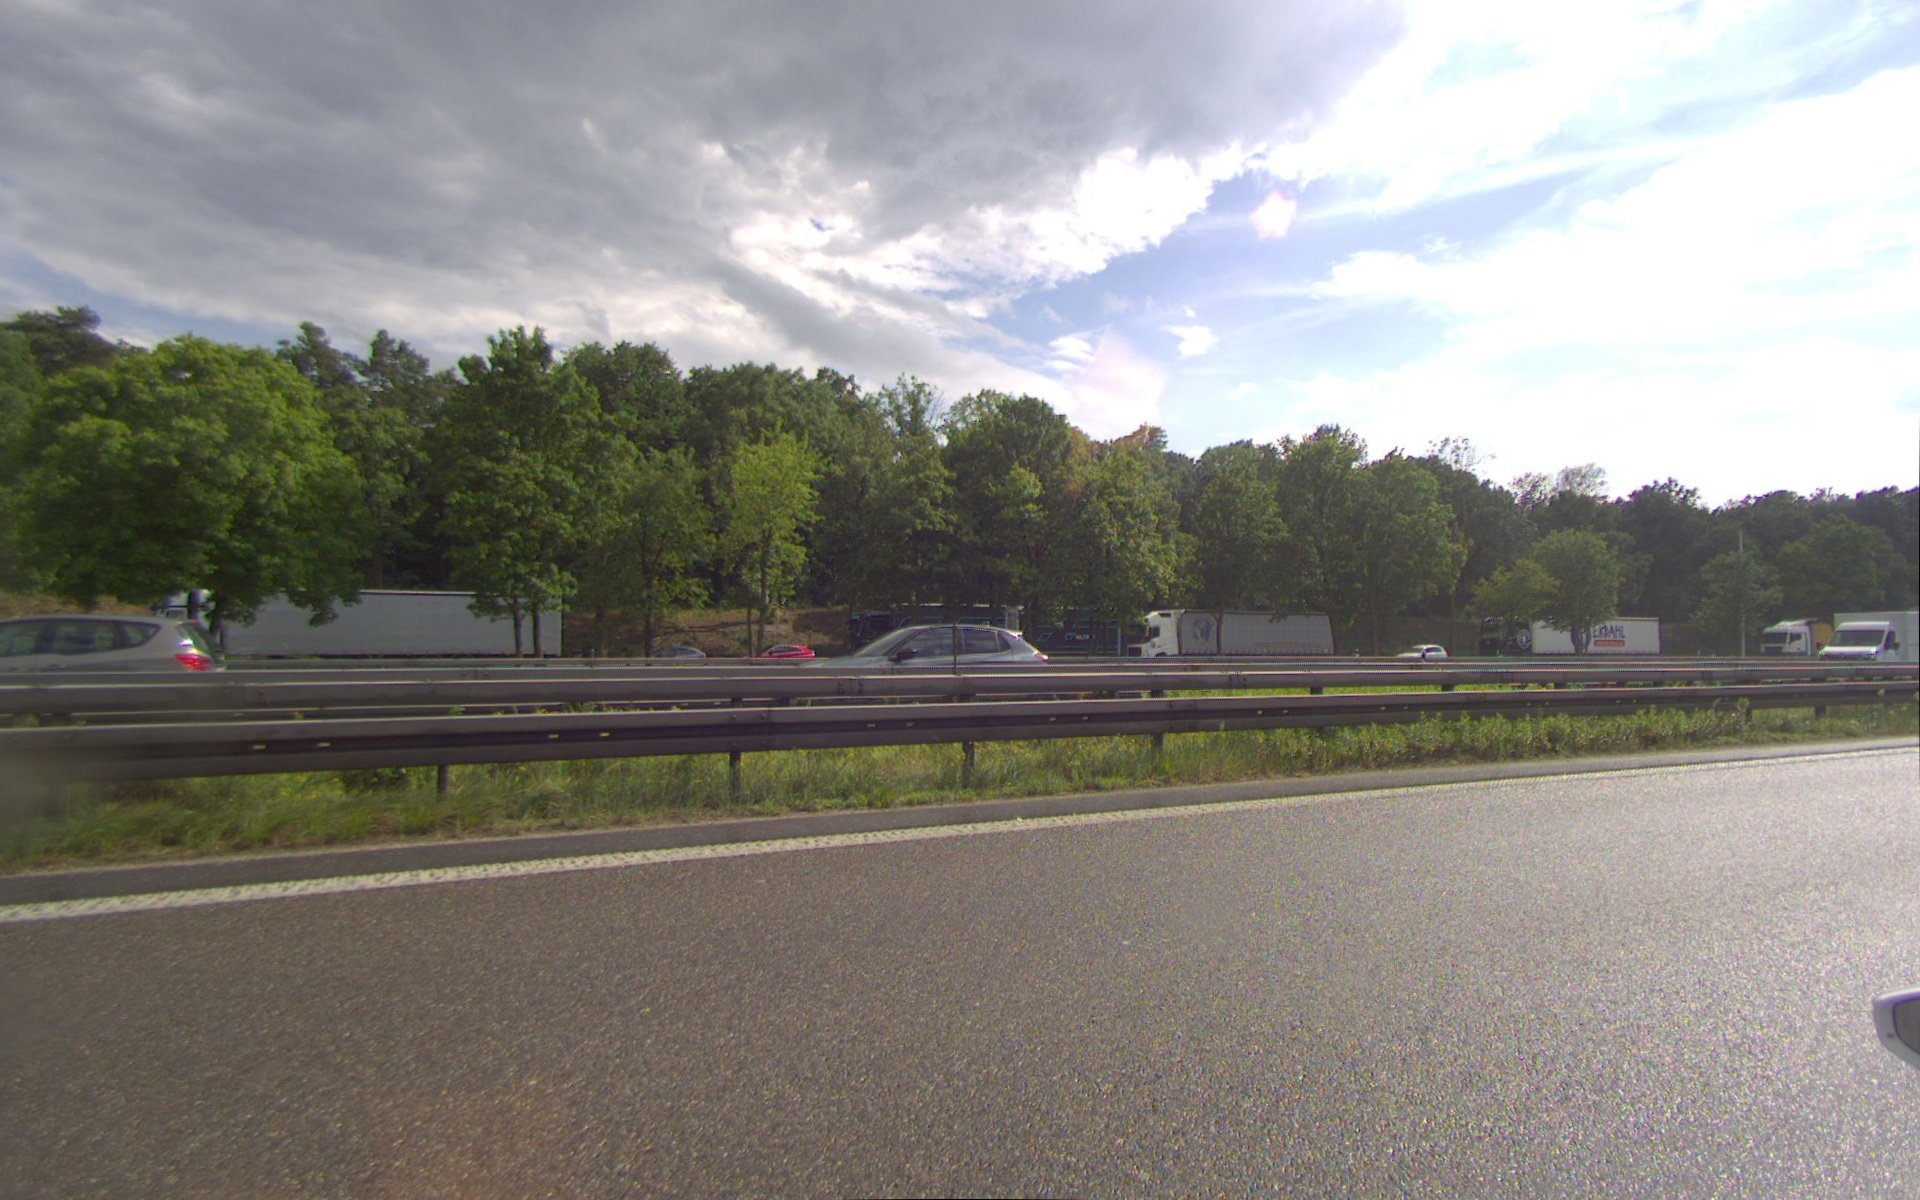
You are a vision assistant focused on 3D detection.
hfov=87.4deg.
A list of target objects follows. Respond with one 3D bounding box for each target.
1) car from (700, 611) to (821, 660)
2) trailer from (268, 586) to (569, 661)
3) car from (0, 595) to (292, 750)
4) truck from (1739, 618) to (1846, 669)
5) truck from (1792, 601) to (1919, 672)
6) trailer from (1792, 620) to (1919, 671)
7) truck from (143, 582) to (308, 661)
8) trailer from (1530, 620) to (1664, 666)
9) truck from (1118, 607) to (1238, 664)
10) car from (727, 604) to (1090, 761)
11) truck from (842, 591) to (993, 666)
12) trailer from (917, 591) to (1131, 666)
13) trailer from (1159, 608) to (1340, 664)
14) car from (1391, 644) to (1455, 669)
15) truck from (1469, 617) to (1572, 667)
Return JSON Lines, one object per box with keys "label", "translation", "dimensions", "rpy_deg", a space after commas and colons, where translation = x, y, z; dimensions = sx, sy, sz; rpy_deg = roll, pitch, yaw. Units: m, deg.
{"label": "car", "translation": [-11.232, 1.987, 56.587], "dimensions": [6.127, 2.515, 2.784], "rpy_deg": [2, 0, -25]}
{"label": "trailer", "translation": [-25.590, 1.221, 48.361], "dimensions": [12.319, 3.259, 3.334], "rpy_deg": [2, -1, -28]}
{"label": "car", "translation": [-12.286, 0.936, 13.916], "dimensions": [4.716, 1.916, 2.292], "rpy_deg": [2, 0, -26]}
{"label": "truck", "translation": [73.758, 3.788, 89.098], "dimensions": [6.923, 4.171, 3.791], "rpy_deg": [2, 0, -12]}
{"label": "truck", "translation": [38.619, 1.552, 42.220], "dimensions": [7.095, 2.717, 2.833], "rpy_deg": [2, 0, -25]}
{"label": "trailer", "translation": [81.852, 4.084, 90.847], "dimensions": [11.521, 4.171, 3.791], "rpy_deg": [2, 0, -12]}
{"label": "truck", "translation": [-32.401, 0.956, 44.647], "dimensions": [5.442, 3.316, 3.337], "rpy_deg": [2, 0, -30]}
{"label": "trailer", "translation": [52.849, 3.567, 83.361], "dimensions": [10.333, 3.697, 3.786], "rpy_deg": [1, -1, -19]}
{"label": "truck", "translation": [14.963, 2.410, 68.984], "dimensions": [7.256, 3.637, 3.776], "rpy_deg": [2, 0, -25]}
{"label": "car", "translation": [-0.741, 1.104, 14.544], "dimensions": [4.716, 1.916, 2.292], "rpy_deg": [2, 0, -26]}
{"label": "truck", "translation": [-2.587, 1.736, 61.274], "dimensions": [8.304, 4.290, 3.776], "rpy_deg": [2, 0, -25]}
{"label": "trailer", "translation": [4.250, 1.921, 64.570], "dimensions": [13.613, 4.464, 3.778], "rpy_deg": [2, -1, -25]}
{"label": "trailer", "translation": [20.766, 2.609, 71.704], "dimensions": [13.164, 3.697, 3.778], "rpy_deg": [2, -1, -25]}
{"label": "car", "translation": [35.596, 4.322, 77.242], "dimensions": [4.306, 1.741, 2.054], "rpy_deg": [2, 0, -23]}
{"label": "truck", "translation": [44.954, 3.325, 80.560], "dimensions": [6.604, 3.709, 3.782], "rpy_deg": [2, 0, -20]}
